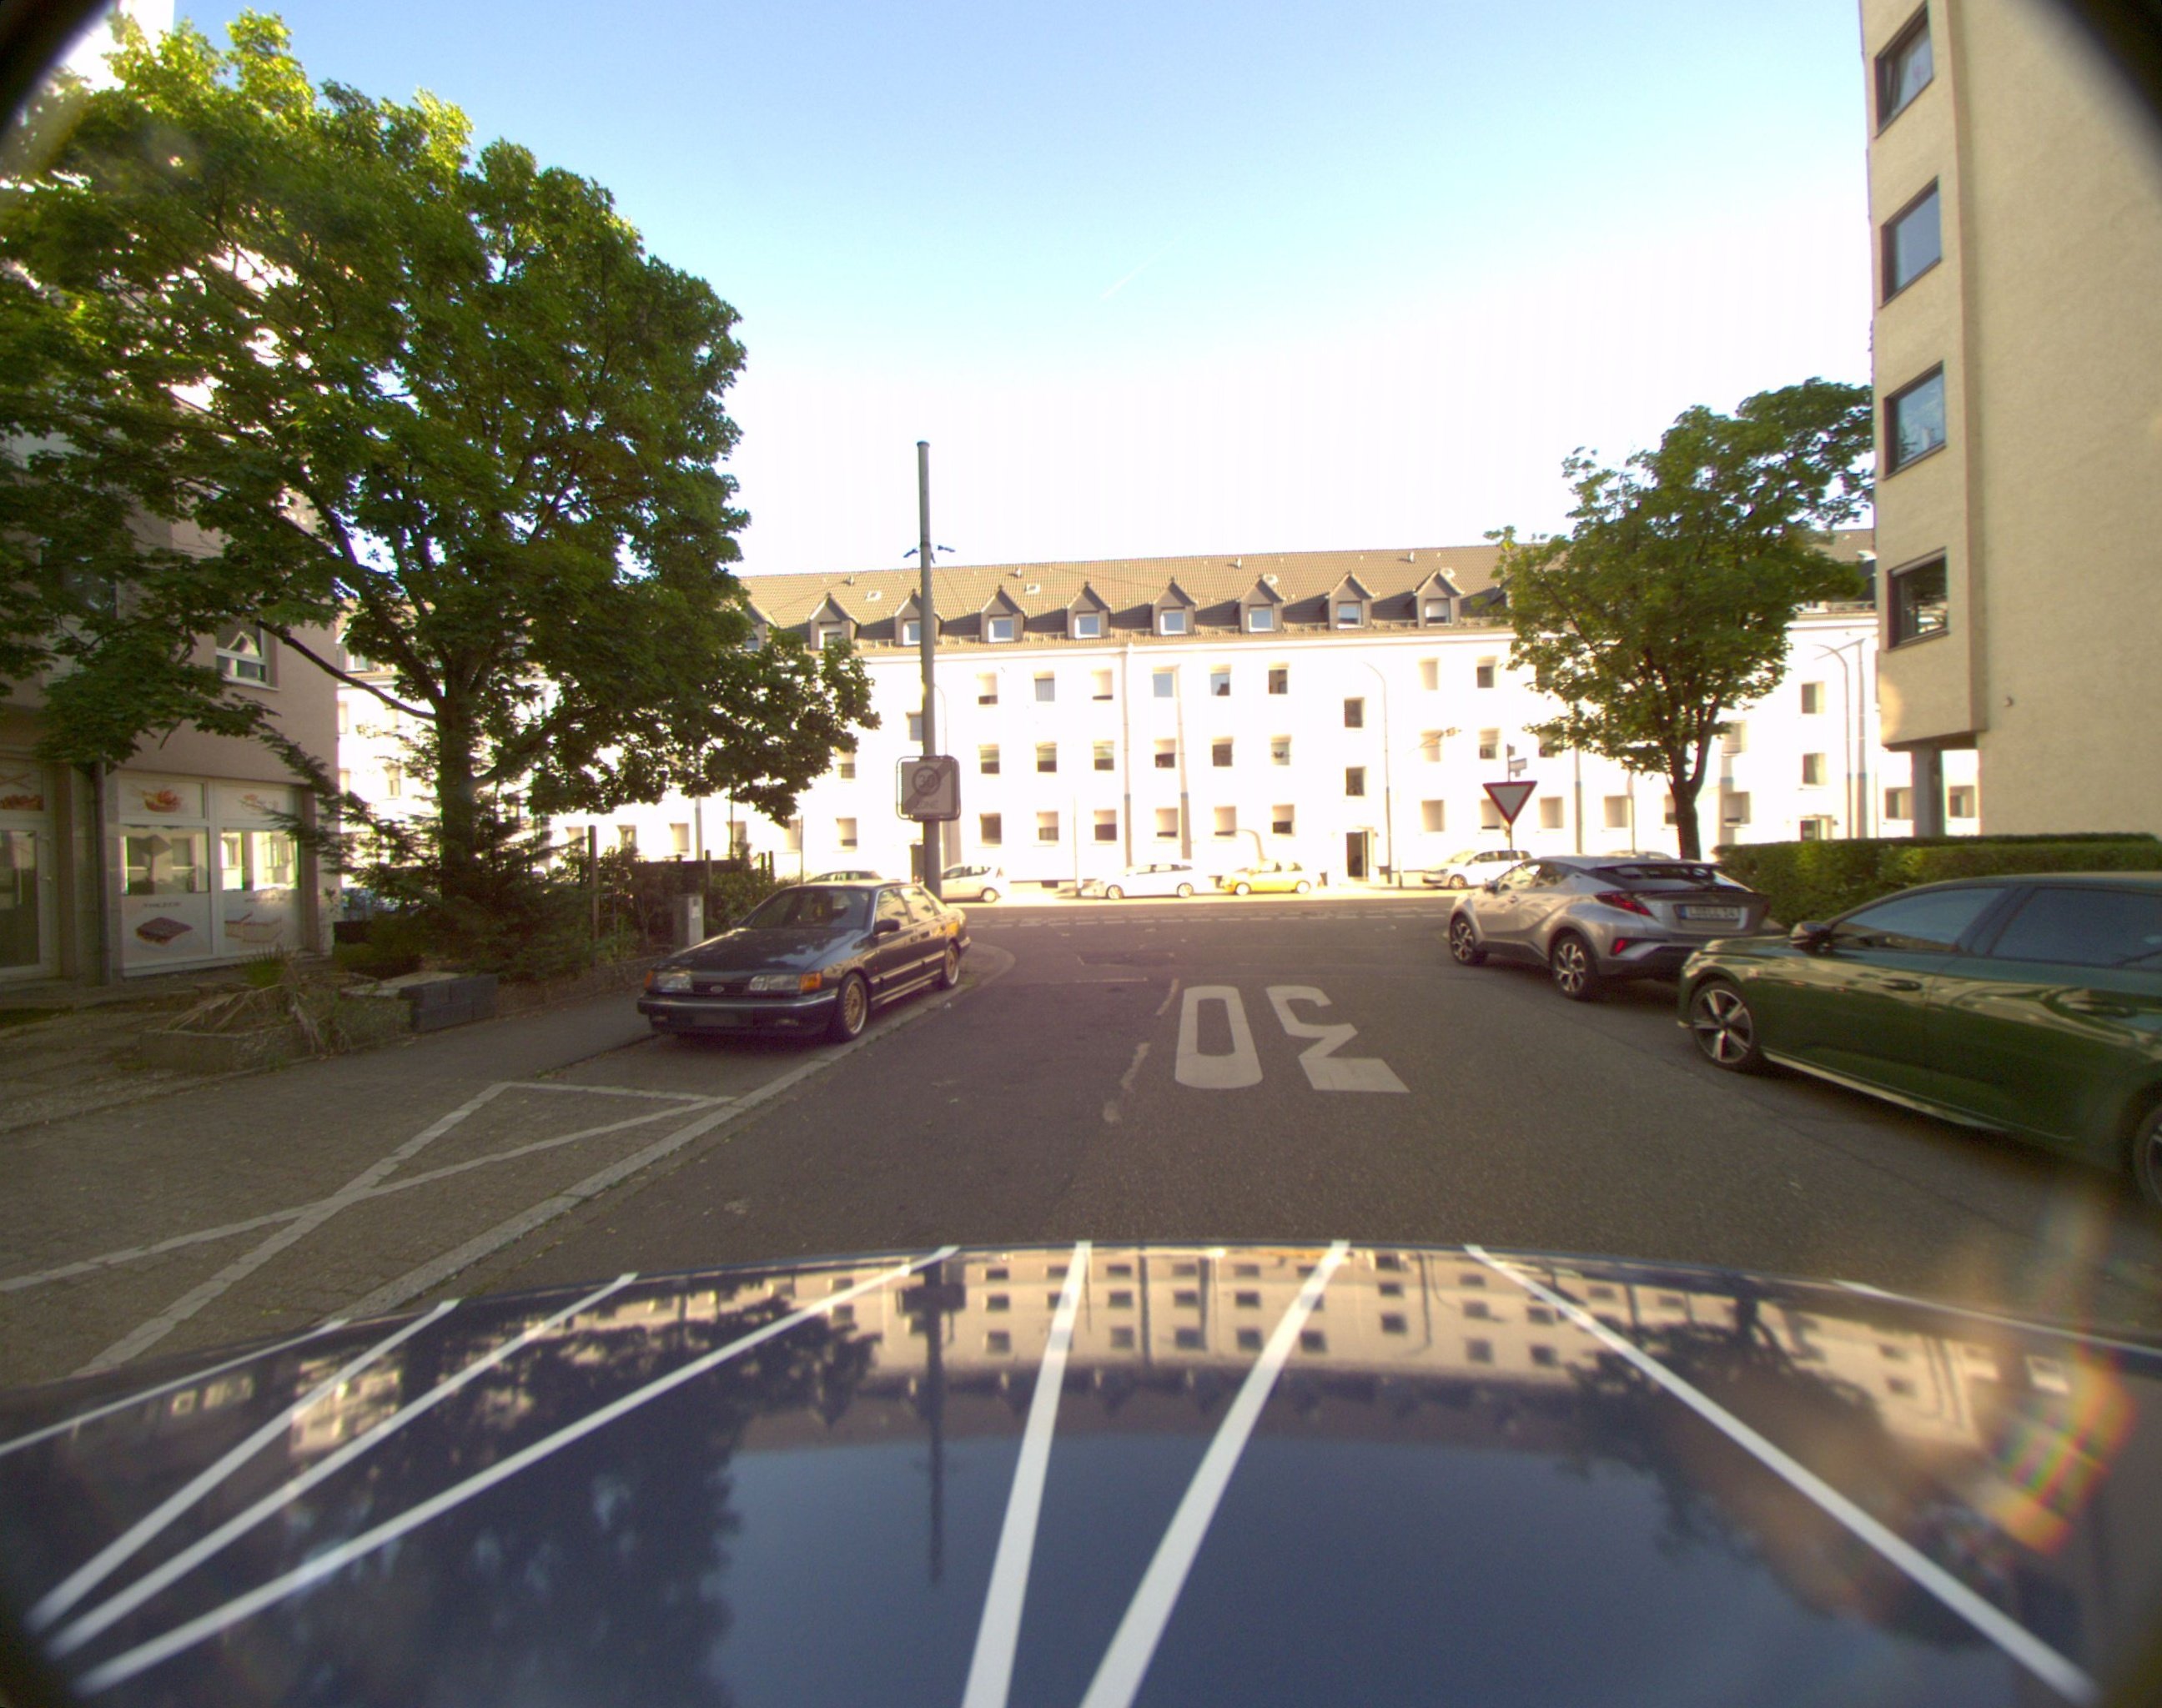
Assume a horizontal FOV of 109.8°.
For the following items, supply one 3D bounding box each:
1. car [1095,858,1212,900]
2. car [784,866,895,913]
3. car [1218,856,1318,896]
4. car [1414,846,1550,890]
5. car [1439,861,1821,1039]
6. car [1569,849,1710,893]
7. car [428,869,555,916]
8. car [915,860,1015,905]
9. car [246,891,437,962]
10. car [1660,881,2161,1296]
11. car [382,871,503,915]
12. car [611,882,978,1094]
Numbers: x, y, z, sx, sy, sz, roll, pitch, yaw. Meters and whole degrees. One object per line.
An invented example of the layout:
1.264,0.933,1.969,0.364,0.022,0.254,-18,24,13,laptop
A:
2.859,0.966,30.492,4.490,1.498,1.945,-2,0,3,car
-9.789,1.425,30.979,3.875,1.498,1.649,-5,0,1,car
7.434,0.849,30.363,3.610,1.440,1.554,-2,1,1,car
15.836,0.542,30.156,4.282,1.548,2.000,-2,0,0,car
5.928,0.889,8.938,1.722,1.546,4.075,0,0,4,car
21.739,0.647,29.698,4.071,1.675,1.923,0,0,0,car
-24.543,1.570,31.711,3.996,1.770,1.695,-2,0,3,car
-4.647,1.125,30.708,3.704,1.597,1.649,-2,0,1,car
-16.334,1.579,16.877,2.879,1.348,1.262,-2,1,-2,car
5.061,0.949,3.653,1.769,1.444,4.210,2,0,8,car
-28.361,1.721,33.814,3.996,1.770,1.695,-2,0,3,car
-2.573,1.116,8.162,1.664,1.399,4.510,1,0,9,car
